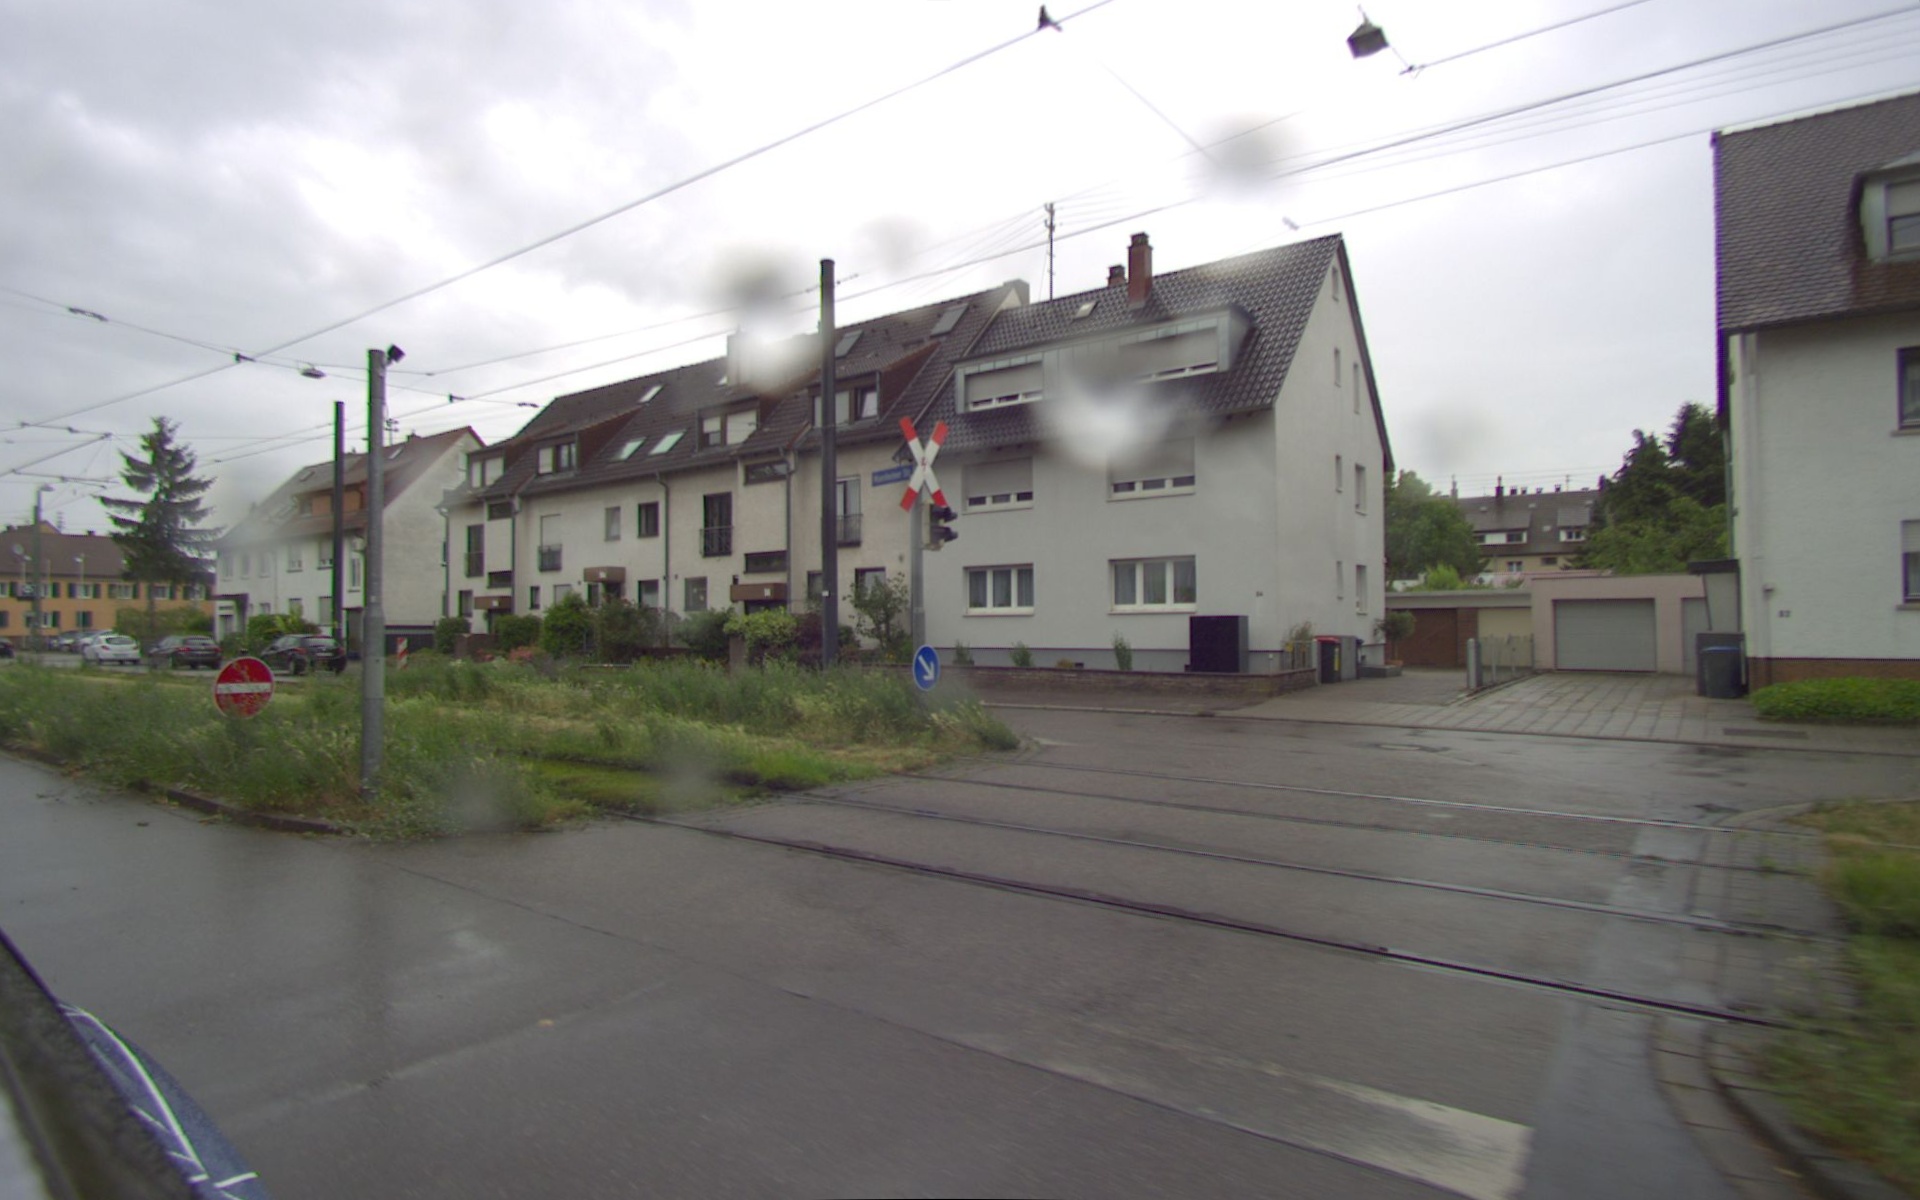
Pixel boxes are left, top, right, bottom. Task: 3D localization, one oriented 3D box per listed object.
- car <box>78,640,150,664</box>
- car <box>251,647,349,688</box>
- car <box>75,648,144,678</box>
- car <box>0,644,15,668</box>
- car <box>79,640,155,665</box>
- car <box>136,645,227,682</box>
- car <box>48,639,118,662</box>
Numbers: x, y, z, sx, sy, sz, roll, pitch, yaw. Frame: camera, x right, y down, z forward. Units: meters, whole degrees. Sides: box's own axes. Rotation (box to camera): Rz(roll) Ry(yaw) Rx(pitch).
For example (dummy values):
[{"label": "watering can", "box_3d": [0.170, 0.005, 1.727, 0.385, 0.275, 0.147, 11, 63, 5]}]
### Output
[{"label": "car", "box_3d": [-62.926, 3.826, 75.302, 1.914, 1.607, 3.942, -3, -2, 44]}, {"label": "car", "box_3d": [-23.938, 2.415, 36.674, 3.930, 1.437, 1.756, -2, -4, 37]}, {"label": "car", "box_3d": [-42.889, 3.155, 51.003, 3.992, 1.451, 1.695, -2, -4, 36]}, {"label": "car", "box_3d": [-64.954, 3.753, 67.683, 3.993, 1.602, 1.890, -2, -3, 37]}, {"label": "car", "box_3d": [-61.038, 3.774, 73.349, 1.911, 1.607, 3.948, -2, -2, 38]}, {"label": "car", "box_3d": [-34.037, 2.744, 44.213, 4.746, 1.543, 1.870, -2, -4, 36]}, {"label": "car", "box_3d": [-66.239, 3.816, 76.489, 3.937, 1.607, 1.916, 0, -2, -40]}]
